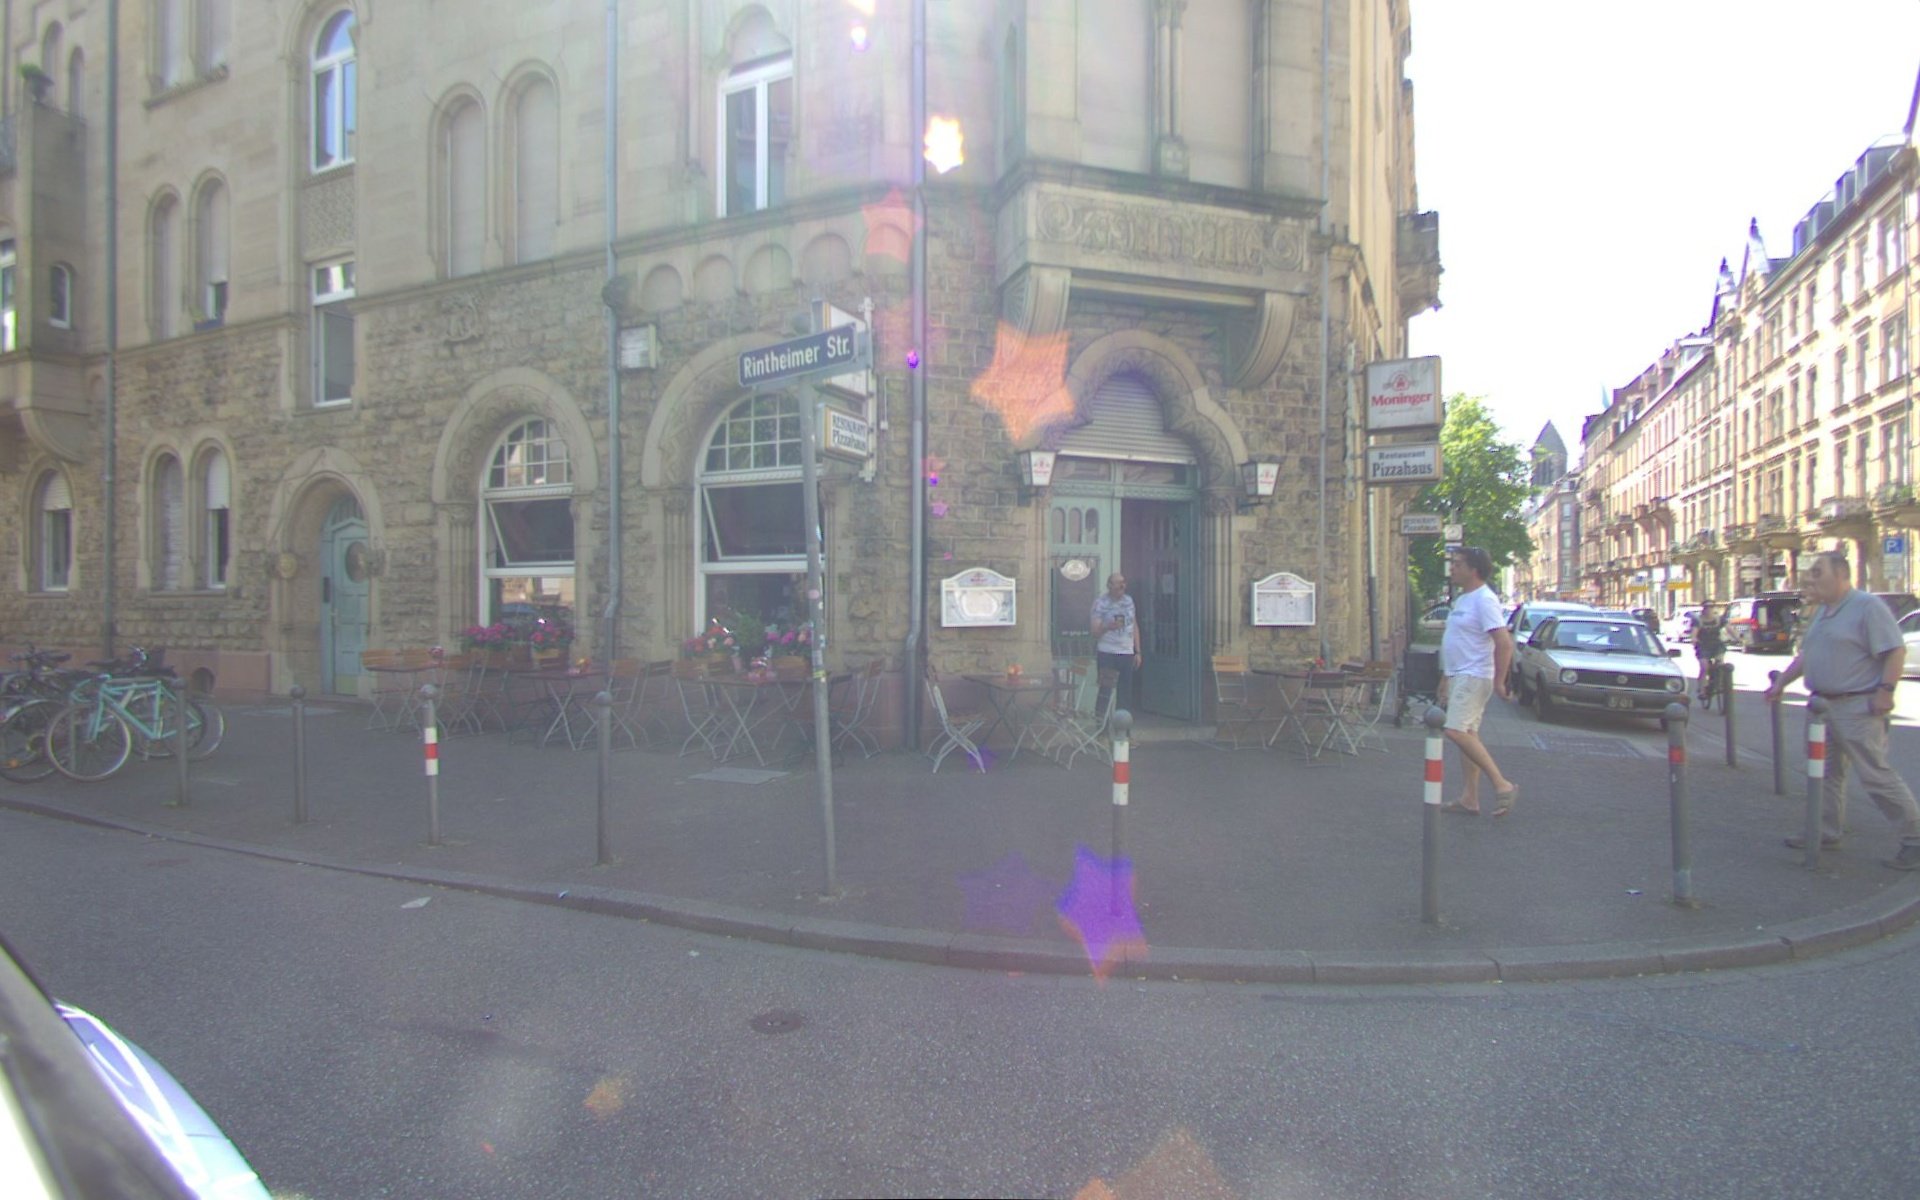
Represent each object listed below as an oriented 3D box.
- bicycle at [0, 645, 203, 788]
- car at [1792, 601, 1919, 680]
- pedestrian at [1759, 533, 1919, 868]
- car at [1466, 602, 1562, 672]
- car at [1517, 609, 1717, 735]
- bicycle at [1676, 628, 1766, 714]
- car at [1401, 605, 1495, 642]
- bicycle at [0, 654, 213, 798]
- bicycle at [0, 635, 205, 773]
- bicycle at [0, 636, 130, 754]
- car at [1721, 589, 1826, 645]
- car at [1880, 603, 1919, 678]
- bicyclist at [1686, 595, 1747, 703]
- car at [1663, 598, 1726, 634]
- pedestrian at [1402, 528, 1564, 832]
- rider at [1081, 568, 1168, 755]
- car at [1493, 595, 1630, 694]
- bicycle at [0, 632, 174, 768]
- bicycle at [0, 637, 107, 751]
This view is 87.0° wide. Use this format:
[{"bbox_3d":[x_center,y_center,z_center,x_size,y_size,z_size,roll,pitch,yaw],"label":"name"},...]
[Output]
[{"bbox_3d":[-7.787,0.988,9.017,0.411,1.053,1.698,0,2,22],"label":"bicycle"},{"bbox_3d":[23.015,1.011,26.070,1.539,1.899,3.333,-1,-2,24],"label":"car"},{"bbox_3d":[5.410,0.555,5.950,0.956,1.828,0.895,0,-1,29],"label":"pedestrian"},{"bbox_3d":[12.812,0.827,23.574,1.628,1.456,3.523,2,-1,24],"label":"car"},{"bbox_3d":[8.950,0.892,14.100,1.712,1.436,3.814,2,0,24],"label":"car"},{"bbox_3d":[11.546,1.030,15.418,0.609,1.196,2.285,0,-1,25],"label":"bicycle"},{"bbox_3d":[21.278,1.025,44.192,3.619,1.570,1.611,0,-1,27],"label":"car"},{"bbox_3d":[-7.418,1.039,8.789,0.364,1.015,1.519,0,2,22],"label":"bicycle"},{"bbox_3d":[-8.458,0.954,9.735,0.433,1.138,1.987,0,1,22],"label":"bicycle"},{"bbox_3d":[-9.572,0.972,10.384,0.290,1.108,1.696,0,1,22],"label":"bicycle"},{"bbox_3d":[26.928,0.597,33.639,1.711,1.743,3.814,-1,-2,24],"label":"car"},{"bbox_3d":[20.979,0.833,20.918,1.711,1.594,3.814,-1,-2,24],"label":"car"},{"bbox_3d":[11.606,0.742,15.543,0.621,1.610,0.670,0,-1,26],"label":"bicyclist"},{"bbox_3d":[31.705,0.704,43.786,1.517,1.456,3.261,2,-1,24],"label":"car"},{"bbox_3d":[3.603,0.507,6.956,0.932,1.903,0.843,0,-1,31],"label":"pedestrian"},{"bbox_3d":[1.552,0.568,9.594,0.631,1.710,0.542,1,-1,-19],"label":"rider"},{"bbox_3d":[11.118,0.773,18.942,1.712,1.594,3.814,2,-1,24],"label":"car"},{"bbox_3d":[-8.881,0.959,9.874,0.392,1.138,1.964,0,2,22],"label":"bicycle"},{"bbox_3d":[-9.882,0.978,10.454,0.290,1.108,1.696,0,1,22],"label":"bicycle"}]
